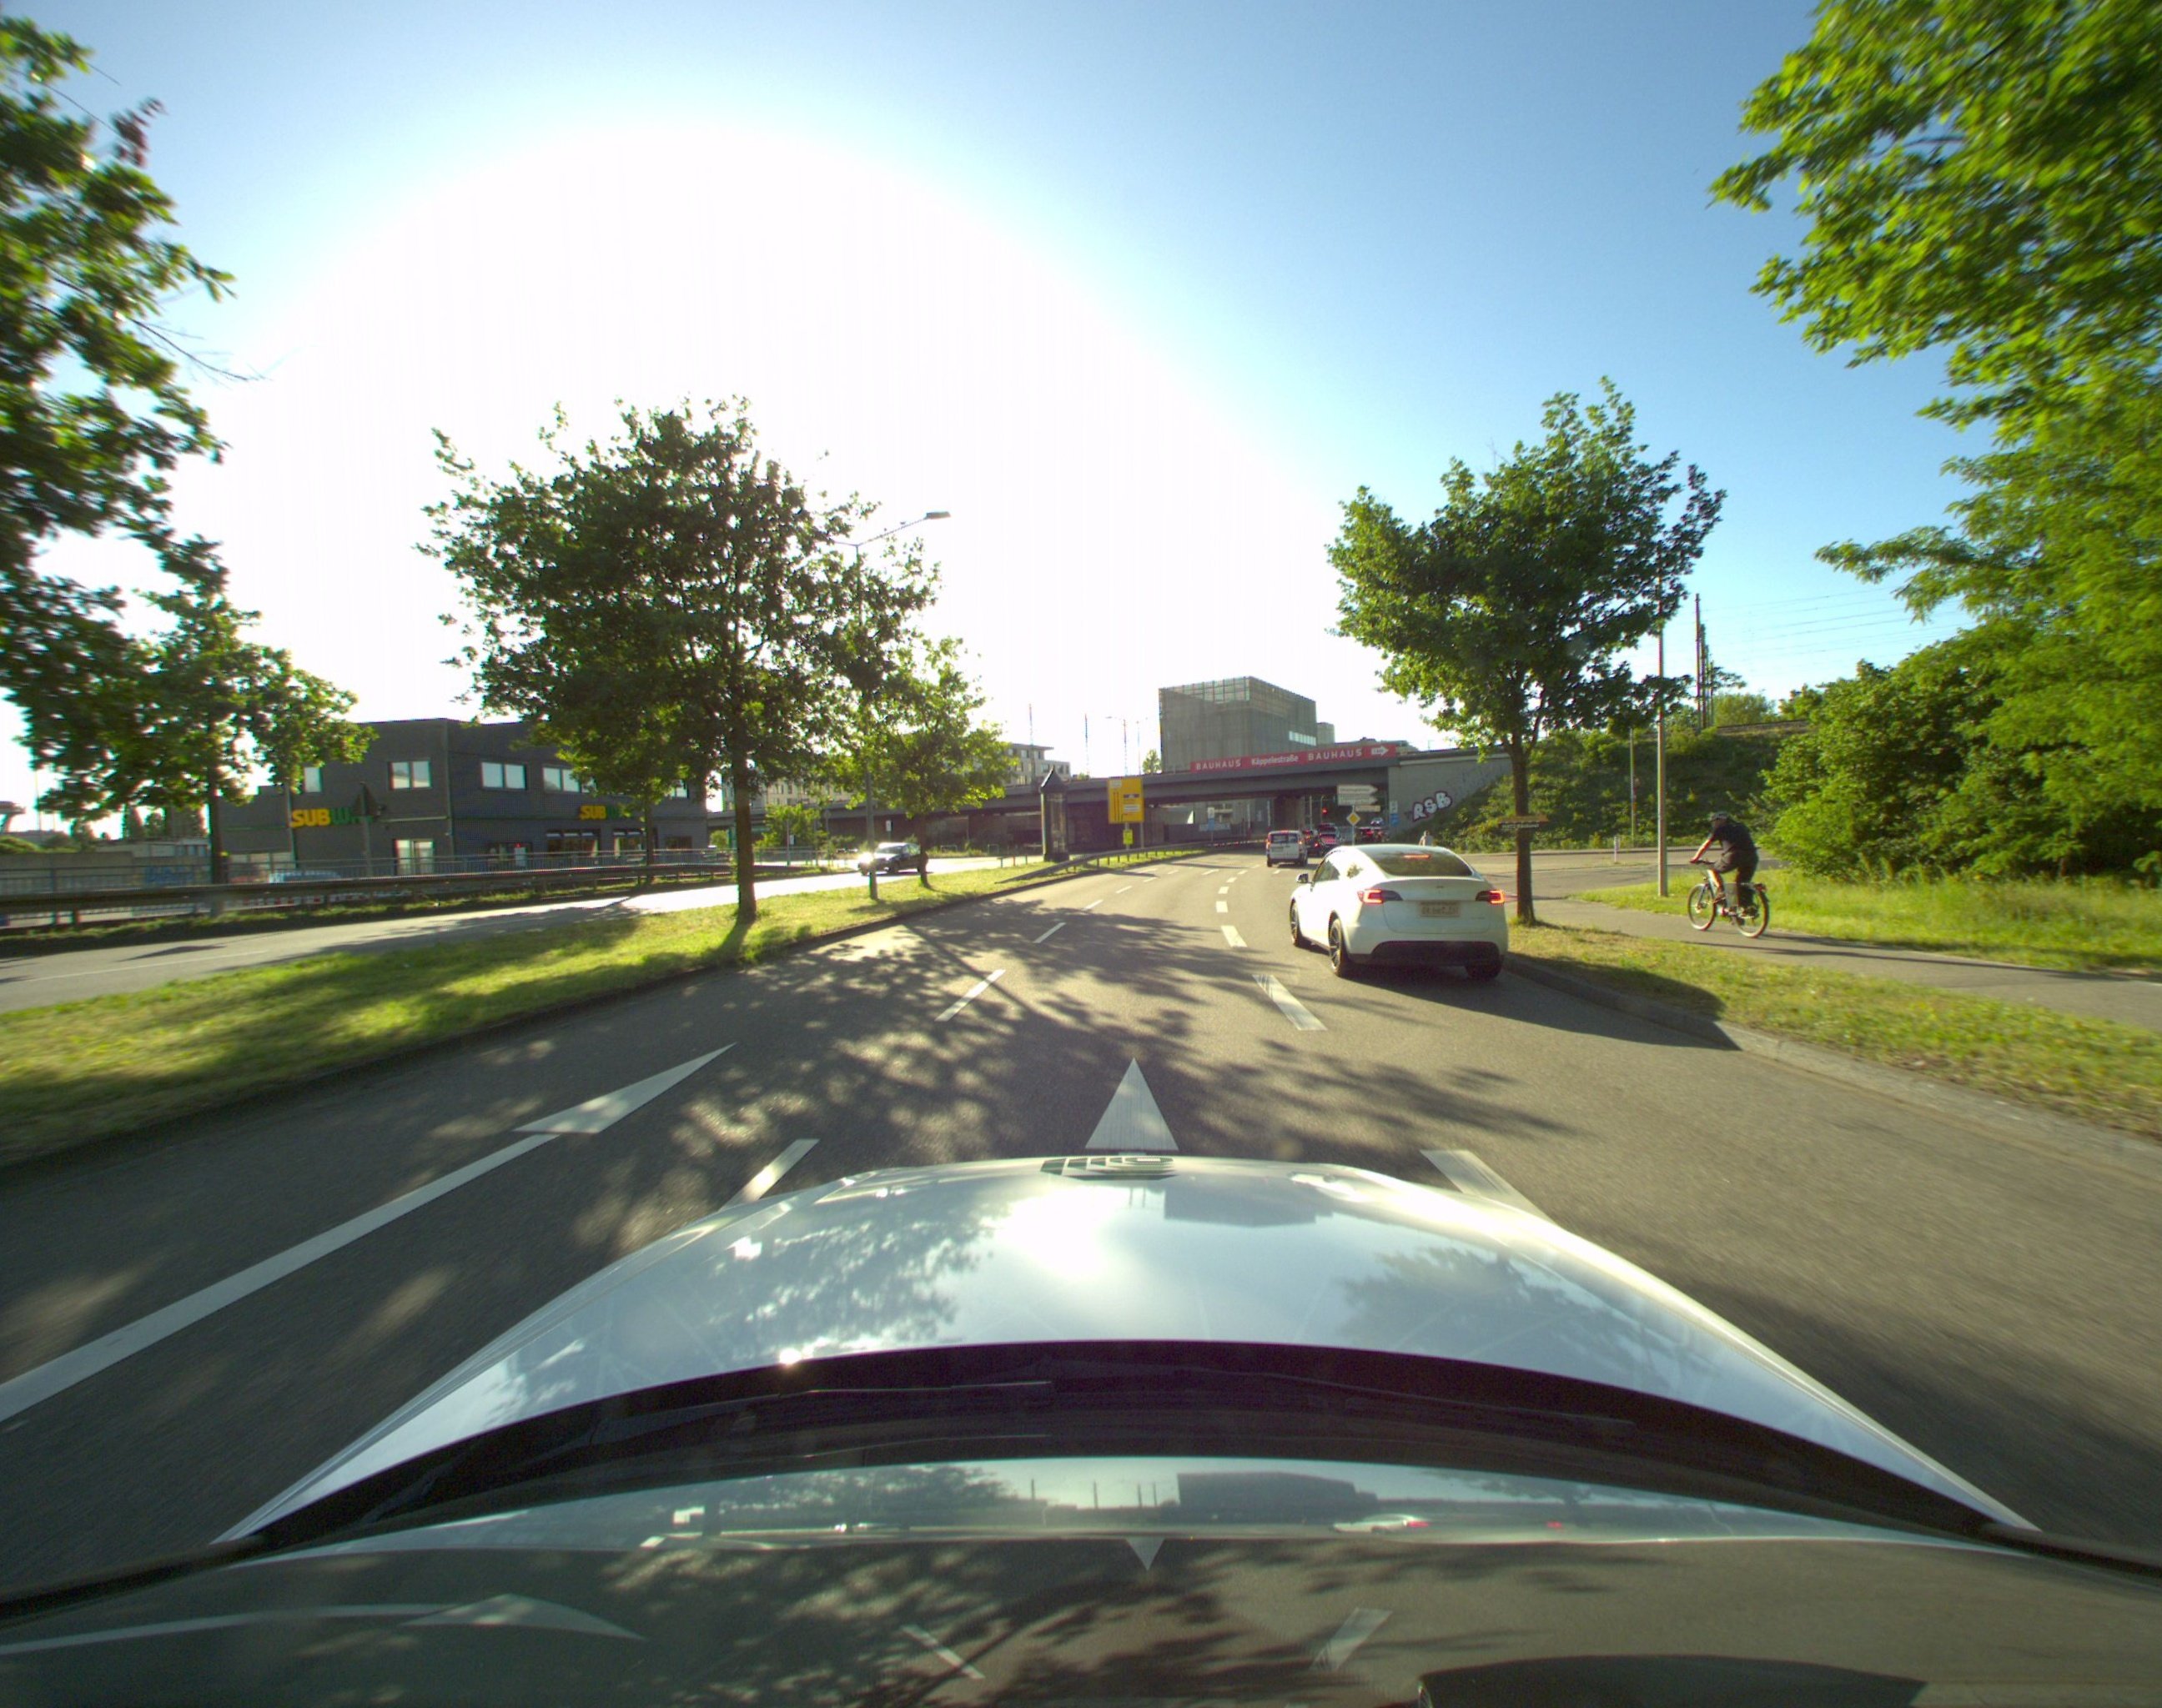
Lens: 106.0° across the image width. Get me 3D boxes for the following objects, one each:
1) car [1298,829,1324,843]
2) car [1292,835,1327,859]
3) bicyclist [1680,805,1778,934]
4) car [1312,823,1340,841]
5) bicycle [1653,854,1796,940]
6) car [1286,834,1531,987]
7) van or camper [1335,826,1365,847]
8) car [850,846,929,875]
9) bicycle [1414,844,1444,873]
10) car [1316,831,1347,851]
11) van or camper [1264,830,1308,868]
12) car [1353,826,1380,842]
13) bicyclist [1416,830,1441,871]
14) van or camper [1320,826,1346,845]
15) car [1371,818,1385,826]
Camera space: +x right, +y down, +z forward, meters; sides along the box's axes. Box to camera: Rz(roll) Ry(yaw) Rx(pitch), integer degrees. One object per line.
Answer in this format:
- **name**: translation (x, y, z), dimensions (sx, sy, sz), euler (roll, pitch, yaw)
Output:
- **car**: translation (24.352, -1.916, 86.165), dimensions (1.691, 1.452, 3.767), euler (-1, 2, 31)
- **car**: translation (15.380, -0.508, 54.677), dimensions (1.589, 1.434, 3.701), euler (0, 3, 26)
- **bicyclist**: translation (9.468, 0.218, 11.939), dimensions (0.671, 1.776, 0.951), euler (-4, 0, 9)
- **car**: translation (28.077, -2.503, 93.206), dimensions (1.848, 1.946, 4.626), euler (-1, 2, 31)
- **bicycle**: translation (9.493, 0.586, 12.135), dimensions (0.691, 1.095, 2.123), euler (-4, 0, 9)
- **car**: translation (4.156, 0.635, 11.187), dimensions (1.905, 1.641, 4.416), euler (1, 0, 5)
- **van or camper**: translation (24.338, -1.620, 73.597), dimensions (1.808, 1.790, 4.573), euler (0, 2, 27)
- **car**: translation (-9.327, 0.288, 40.014), dimensions (1.787, 1.310, 4.633), euler (-1, 1, 14)
- **bicycle**: translation (14.424, 0.169, 33.770), dimensions (0.737, 1.112, 2.461), euler (-4, 0, 15)
- **car**: translation (19.627, -1.032, 63.668), dimensions (1.747, 1.475, 4.314), euler (-1, 1, 25)
- **van or camper**: translation (11.063, -0.324, 43.730), dimensions (1.943, 1.883, 4.903), euler (-1, 2, 18)
- **car**: translation (27.955, -1.959, 79.681), dimensions (1.691, 1.522, 3.767), euler (-1, 2, 31)
- **bicyclist**: translation (14.401, -0.162, 33.746), dimensions (0.740, 1.619, 0.916), euler (-4, 0, 15)
- **van or camper**: translation (24.967, -1.842, 80.572), dimensions (1.737, 1.813, 3.983), euler (-1, 2, 27)
- **car**: translation (60.325, -6.485, 165.575), dimensions (1.766, 1.645, 4.229), euler (0, 2, 32)
